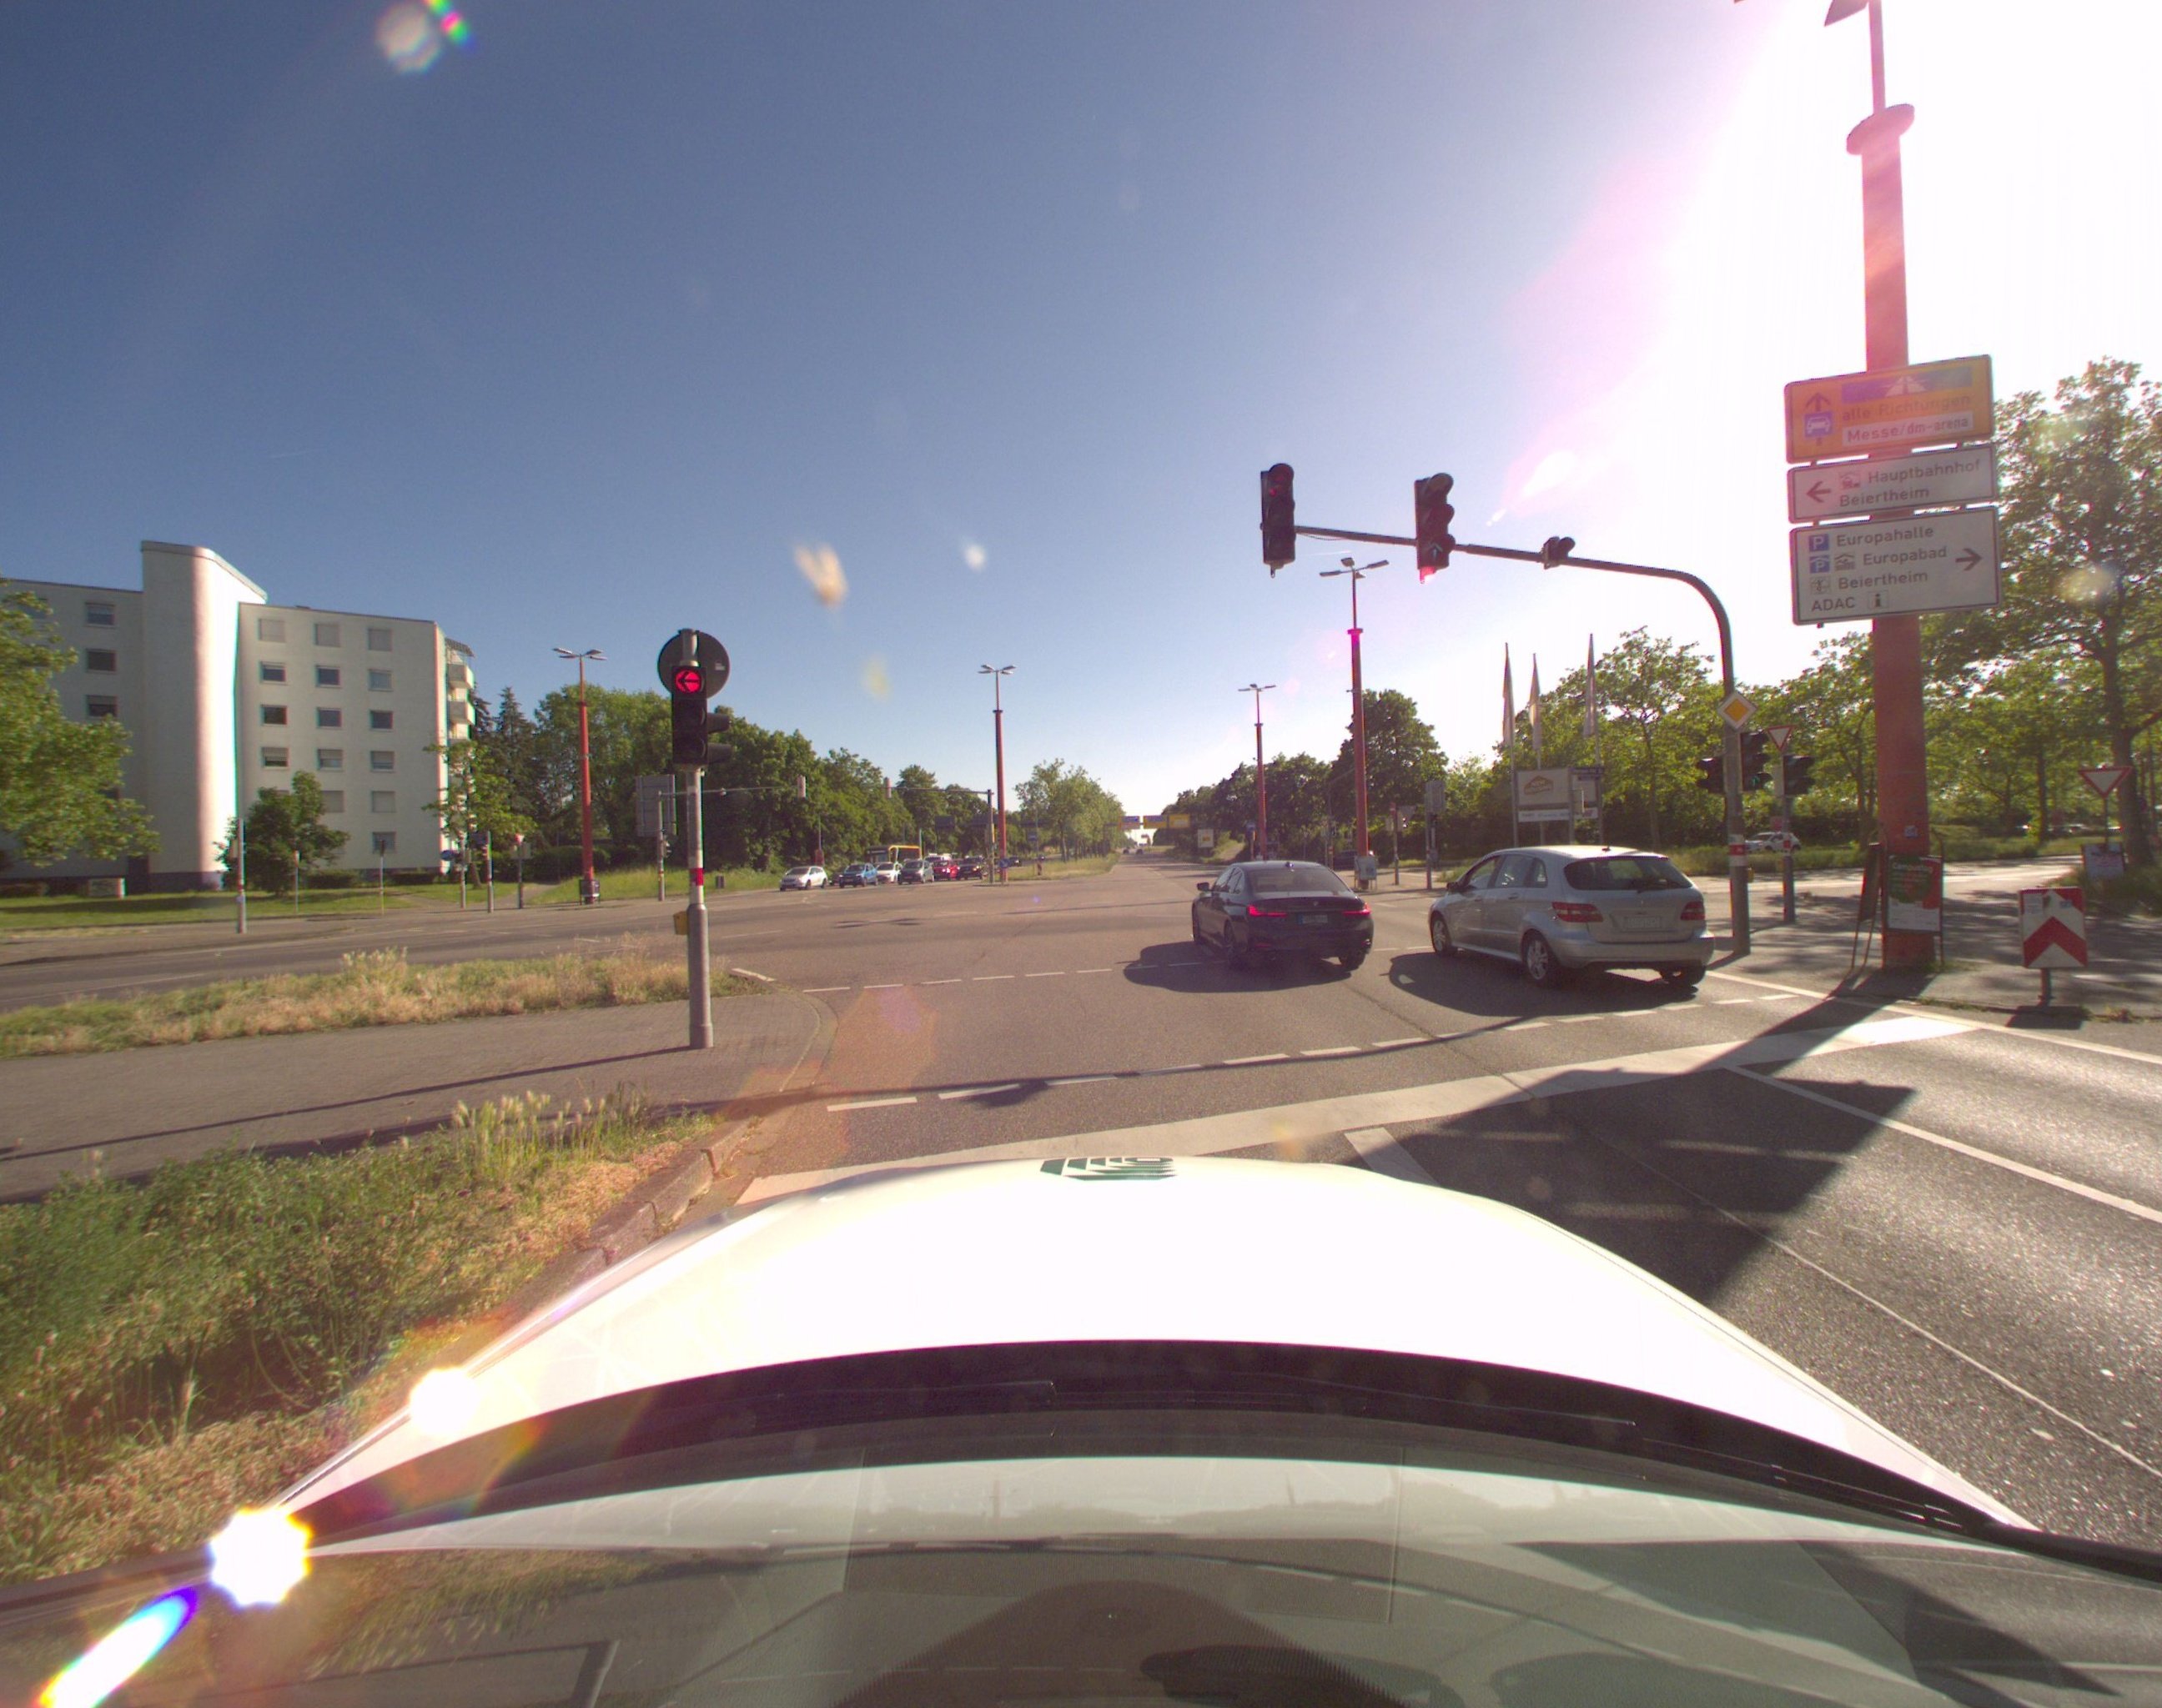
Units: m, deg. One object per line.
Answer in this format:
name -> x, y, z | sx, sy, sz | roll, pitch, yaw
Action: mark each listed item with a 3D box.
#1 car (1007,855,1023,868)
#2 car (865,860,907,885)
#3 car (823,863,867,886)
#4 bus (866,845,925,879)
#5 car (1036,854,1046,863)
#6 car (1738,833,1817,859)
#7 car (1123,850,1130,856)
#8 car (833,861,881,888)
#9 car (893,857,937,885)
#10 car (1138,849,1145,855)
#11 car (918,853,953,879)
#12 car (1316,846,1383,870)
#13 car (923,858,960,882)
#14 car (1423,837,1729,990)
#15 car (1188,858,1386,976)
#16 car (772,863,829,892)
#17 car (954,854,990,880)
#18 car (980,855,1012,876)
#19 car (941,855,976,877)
car -> -9.743, 1.052, 120.905 | 1.830, 1.837, 3.962 | -2, 0, 2
car -> -13.767, 1.285, 57.768 | 1.895, 1.555, 4.000 | -3, 0, 0
car -> -17.550, 1.500, 60.685 | 1.877, 1.513, 4.003 | -3, 0, 3
bus -> -18.892, 0.799, 83.914 | 2.635, 3.261, 12.545 | 0, 0, 3
car -> -9.169, 0.999, 188.579 | 1.913, 1.999, 4.605 | -2, 0, 1
car -> 48.256, -0.525, 56.476 | 4.281, 1.635, 1.765 | -2, 0, -8
car -> 13.153, -0.368, 235.462 | 1.986, 1.733, 4.001 | 0, -1, 2
car -> -14.131, 1.283, 51.622 | 1.794, 1.515, 3.861 | -3, 0, 2
car -> -10.689, 1.076, 52.702 | 1.867, 1.550, 4.029 | -3, 0, 2
car -> 17.380, -0.459, 234.359 | 1.986, 1.733, 4.001 | 0, -1, 2
car -> -12.715, 0.997, 71.307 | 1.954, 2.155, 5.083 | -2, 0, 1
car -> 19.108, 0.304, 58.057 | 4.243, 1.635, 1.781 | -1, -1, 32
car -> -10.060, 1.122, 59.029 | 1.869, 1.552, 4.000 | -5, 0, 0
car -> 6.020, 0.642, 10.501 | 1.709, 1.608, 3.849 | 0, -1, 2
car -> 2.836, 0.796, 12.208 | 1.759, 1.441, 4.291 | 0, 0, -2
car -> -17.638, 1.421, 51.423 | 1.869, 1.652, 4.222 | -3, -1, 3
car -> -7.521, 0.855, 56.708 | 1.787, 1.626, 4.144 | -3, 0, 1
car -> -6.671, 0.860, 64.172 | 1.878, 1.543, 4.002 | -3, 0, 2
car -> -9.739, 0.931, 65.026 | 1.893, 1.630, 4.003 | -1, 0, 3
